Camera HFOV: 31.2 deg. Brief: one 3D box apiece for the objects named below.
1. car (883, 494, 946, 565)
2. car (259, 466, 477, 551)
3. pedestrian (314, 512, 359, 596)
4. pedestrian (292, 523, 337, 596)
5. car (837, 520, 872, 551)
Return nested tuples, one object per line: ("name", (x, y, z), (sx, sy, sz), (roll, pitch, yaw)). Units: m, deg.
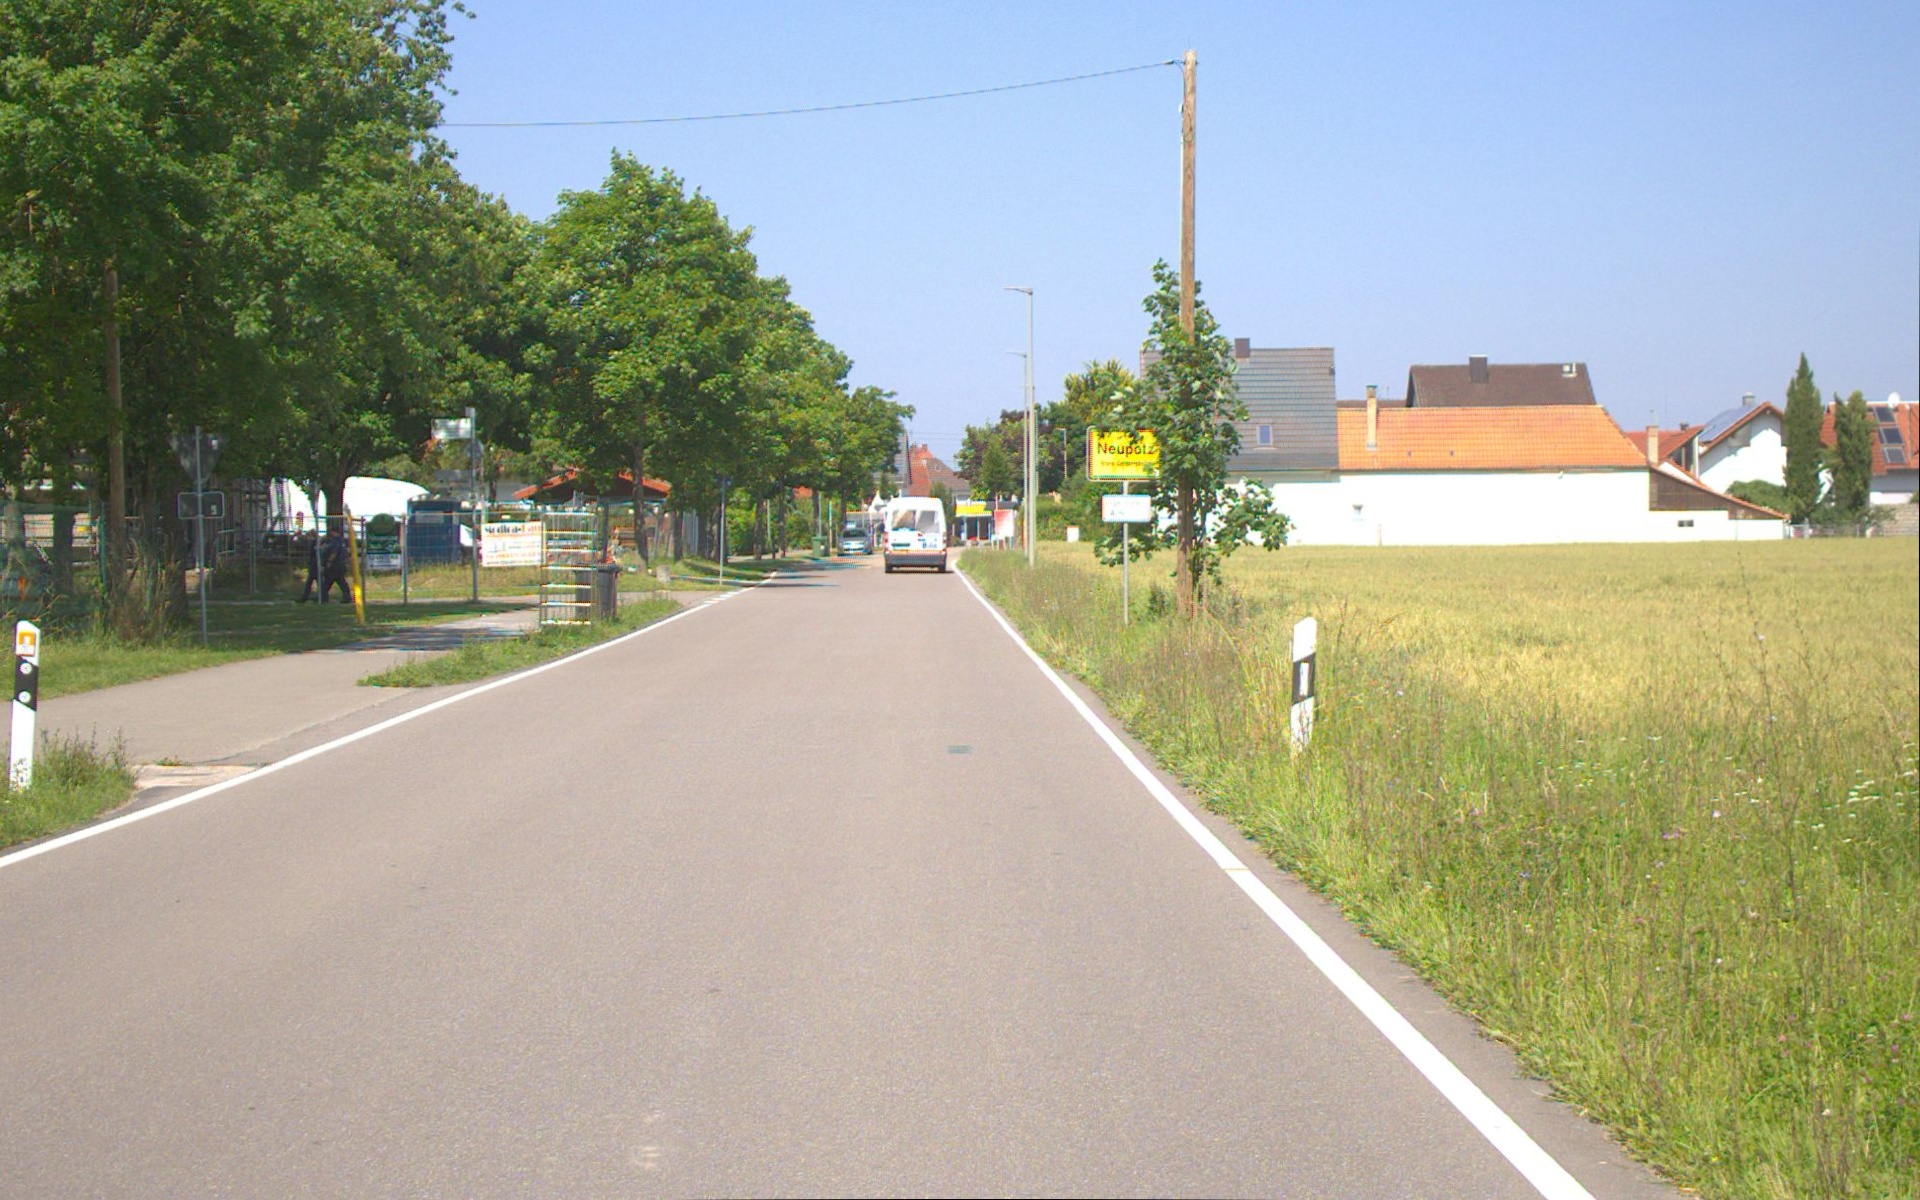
("car", (-1.490, -2.324, 113.109), (1.993, 2.258, 4.726), (-1, 1, -1))
("car", (-16.191, -2.514, 94.203), (5.597, 2.258, 1.999), (-2, 2, -39))
("pedestrian", (-13.588, -1.005, 74.946), (0.720, 1.796, 0.710), (0, 1, 15))
("pedestrian", (-13.927, -0.872, 74.193), (0.677, 1.560, 0.718), (0, 1, 15))
("car", (-5.500, -3.364, 179.390), (1.771, 1.585, 4.000), (-1, 1, -1))
